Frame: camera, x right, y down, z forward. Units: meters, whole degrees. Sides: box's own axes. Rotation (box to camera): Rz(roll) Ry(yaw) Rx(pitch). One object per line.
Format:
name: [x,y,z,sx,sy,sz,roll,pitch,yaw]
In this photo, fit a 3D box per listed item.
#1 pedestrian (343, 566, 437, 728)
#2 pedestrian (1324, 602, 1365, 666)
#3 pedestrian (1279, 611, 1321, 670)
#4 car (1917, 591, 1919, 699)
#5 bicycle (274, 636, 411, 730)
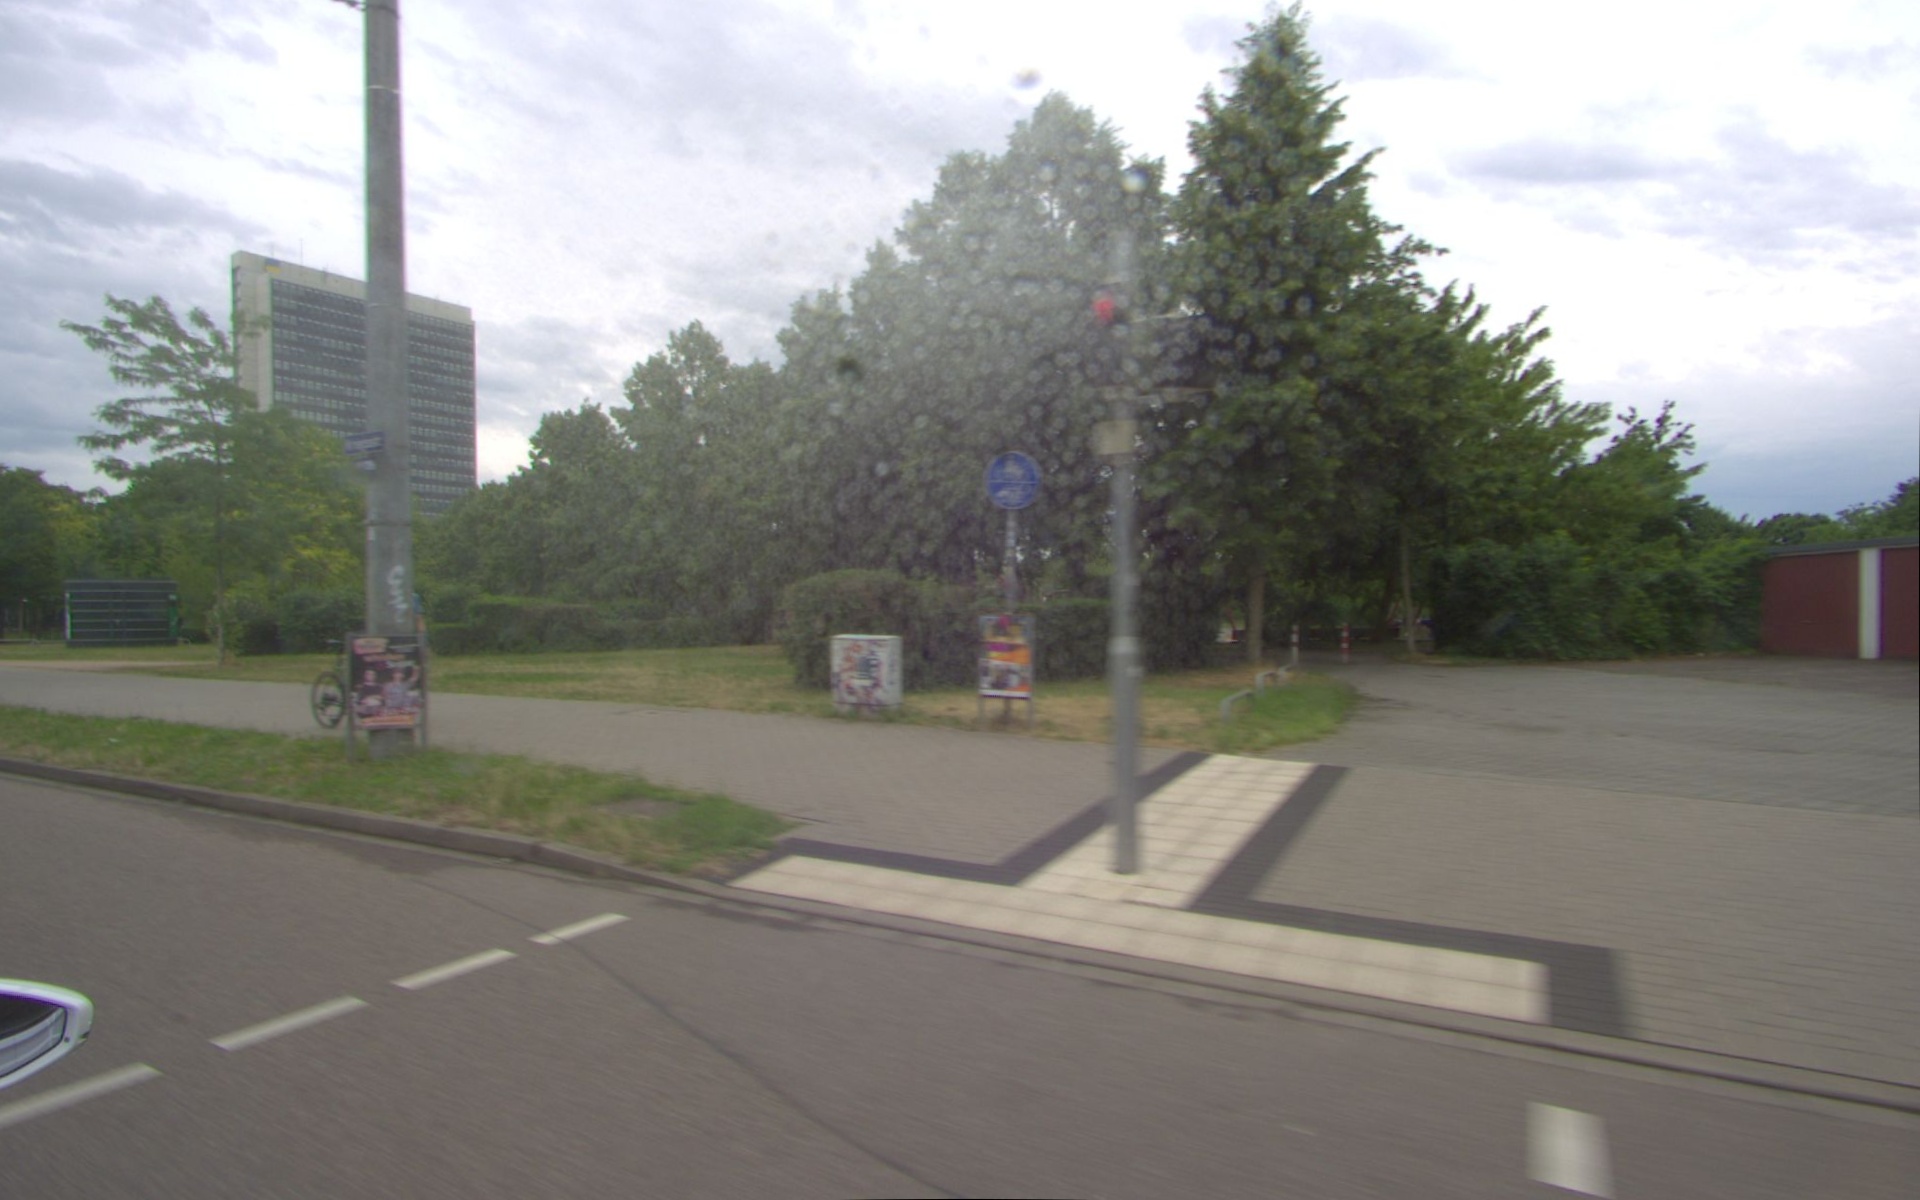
pedestrian: [-6.915,0.548,12.165,0.672,1.894,0.738,0,1,29]
pedestrian: [8.407,0.730,21.886,0.581,1.376,0.626,0,1,-11]
pedestrian: [7.043,0.838,20.778,0.581,1.199,0.626,0,1,-11]
car: [14.802,0.570,12.797,3.418,1.471,1.691,-1,0,3]
bicycle: [-7.409,0.959,11.998,1.752,1.016,0.653,0,0,30]
